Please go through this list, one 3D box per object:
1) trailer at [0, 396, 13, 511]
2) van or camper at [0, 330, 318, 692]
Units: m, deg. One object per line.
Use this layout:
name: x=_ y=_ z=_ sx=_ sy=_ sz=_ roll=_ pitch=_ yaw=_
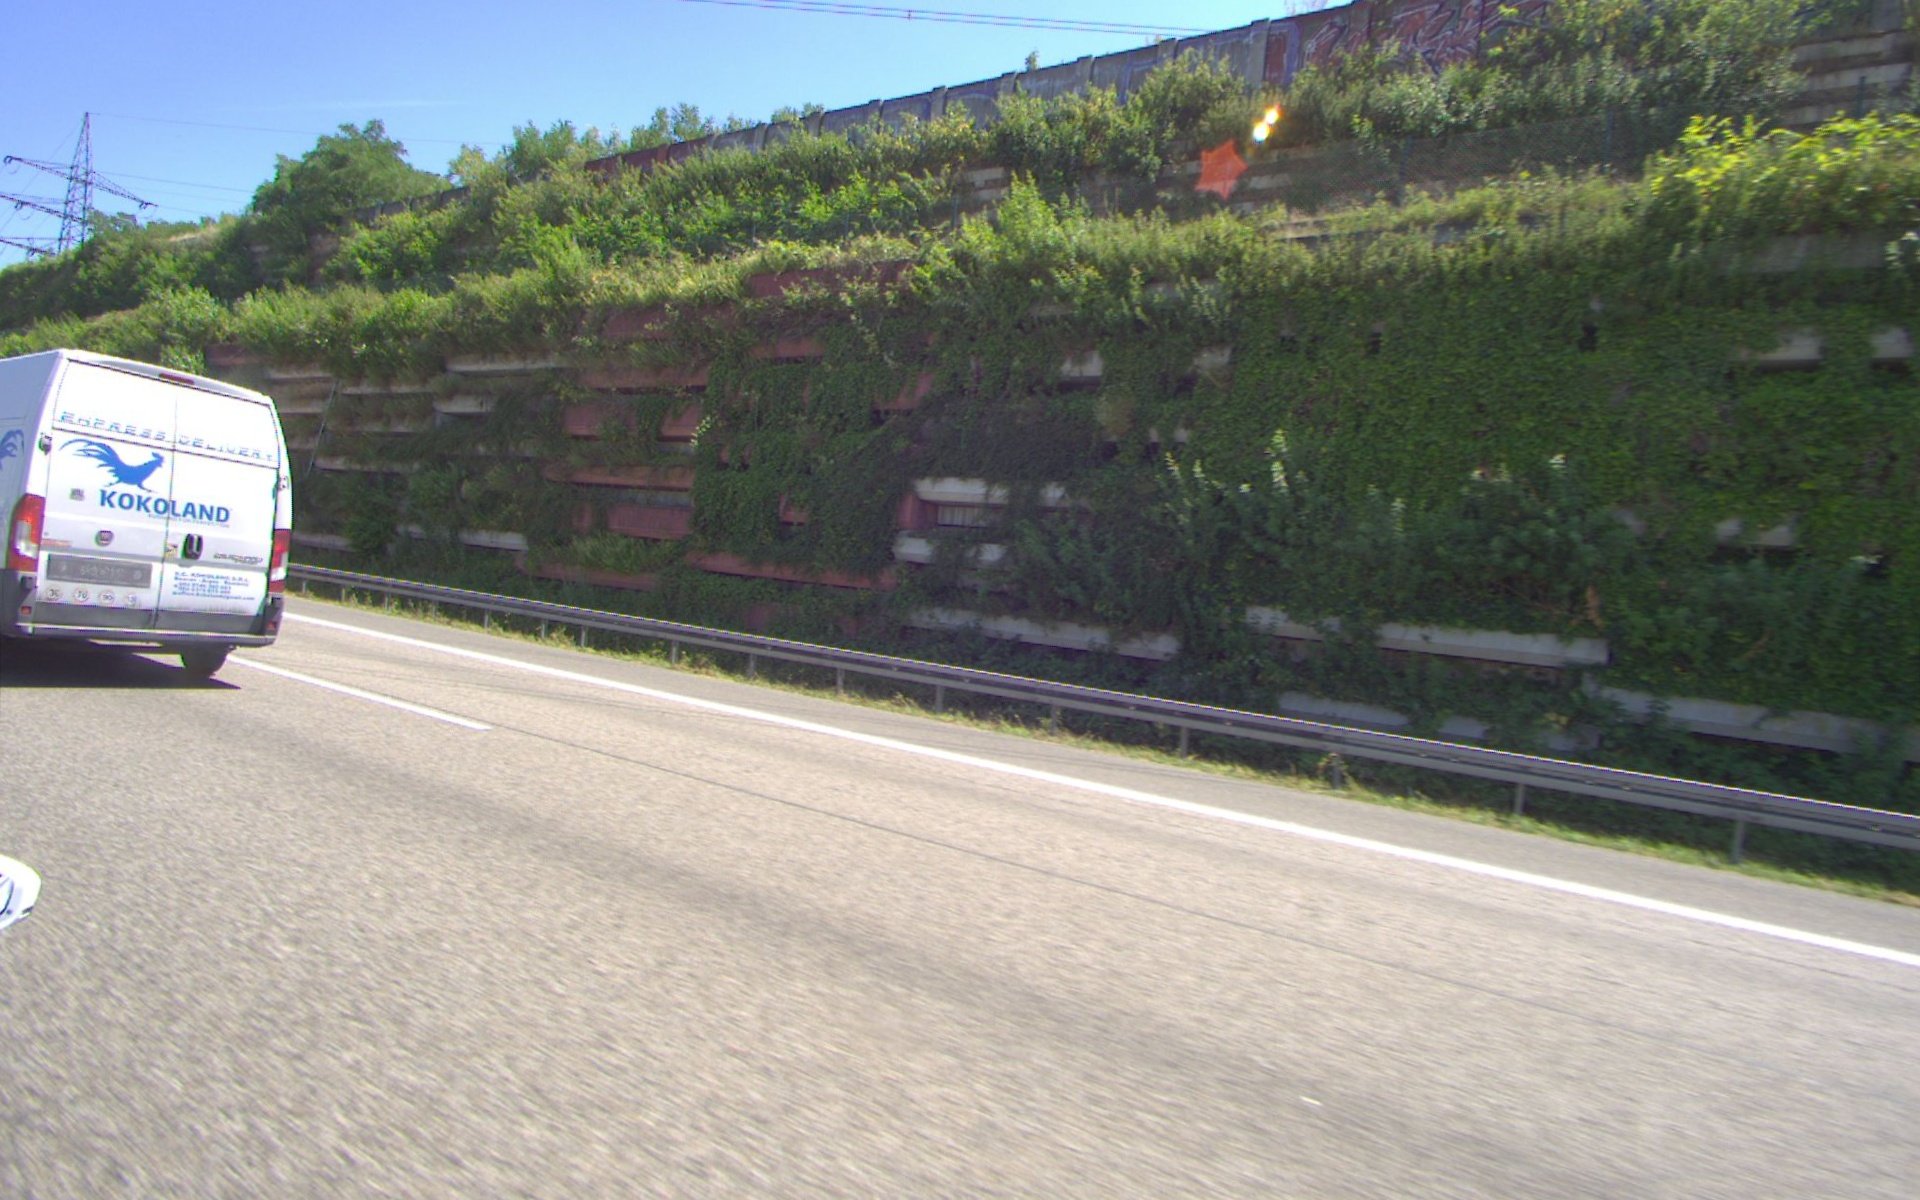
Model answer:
trailer: x=-30.056 y=-3.732 z=27.401 sx=13.381 sy=4.053 sz=2.648 roll=6 pitch=0 yaw=32
van or camper: x=-9.592 y=-0.919 z=10.347 sx=6.644 sy=2.803 sz=2.099 roll=6 pitch=0 yaw=31
